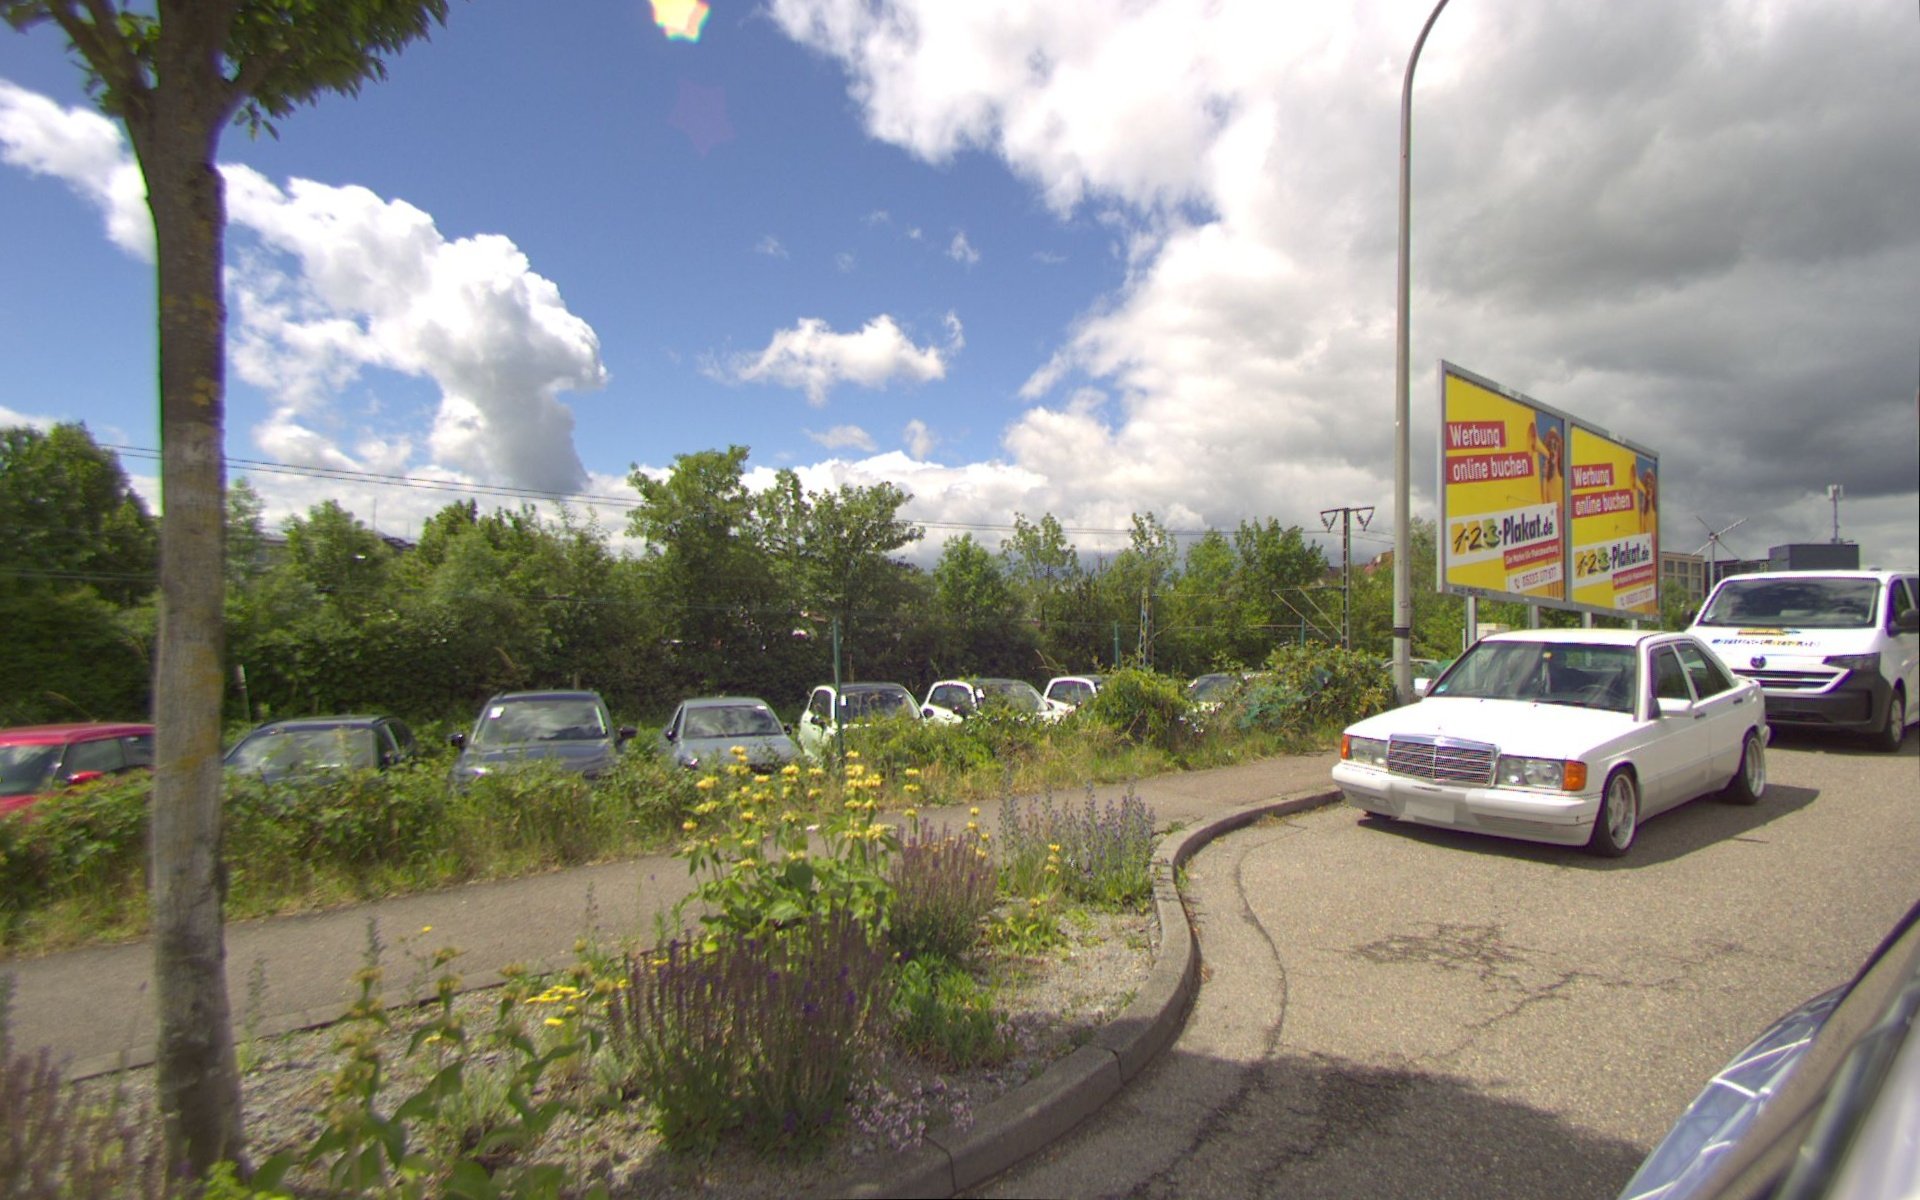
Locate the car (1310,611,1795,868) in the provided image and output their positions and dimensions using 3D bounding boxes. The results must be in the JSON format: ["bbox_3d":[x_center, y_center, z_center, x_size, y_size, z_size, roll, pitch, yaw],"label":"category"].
[{"bbox_3d":[4.507,0.785,7.460,4.127,1.405,1.641,1,-1,-37],"label":"car"}]

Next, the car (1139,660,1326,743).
[{"bbox_3d":[5.329,1.900,19.645,3.641,1.276,1.576,0,-1,-36],"label":"car"}]

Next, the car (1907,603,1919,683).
[{"bbox_3d":[19.718,0.803,19.448,3.434,1.500,1.597,0,-1,-36],"label":"car"}]

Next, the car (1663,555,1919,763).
[{"bbox_3d":[10.772,0.604,12.351,5.443,2.030,1.980,0,-1,-37],"label":"car"}]

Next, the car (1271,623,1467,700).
[{"bbox_3d":[9.003,1.261,22.181,4.468,1.460,1.822,0,-1,-34],"label":"car"}]

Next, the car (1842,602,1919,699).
[{"bbox_3d":[16.124,0.784,16.709,3.905,1.469,1.597,1,-1,-37],"label":"car"}]

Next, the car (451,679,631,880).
[{"bbox_3d":[-4.927,1.934,12.135,1.681,1.656,4.008,0,0,-21],"label":"car"}]

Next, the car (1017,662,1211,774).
[{"bbox_3d":[2.602,1.988,18.081,1.611,1.509,4.007,0,0,-22],"label":"car"}]

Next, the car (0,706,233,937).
[{"bbox_3d":[-9.038,1.997,9.782,1.775,1.505,4.007,0,0,-11],"label":"car"}]

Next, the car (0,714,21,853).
[{"bbox_3d":[-10.876,1.995,9.111,1.708,1.469,4.007,0,0,-11],"label":"car"}]

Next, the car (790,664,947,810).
[{"bbox_3d":[-1.528,1.939,15.467,1.606,1.661,4.008,0,0,-17],"label":"car"}]

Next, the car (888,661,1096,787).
[{"bbox_3d":[0.401,1.953,17.094,1.756,1.618,4.005,0,0,-28],"label":"car"}]

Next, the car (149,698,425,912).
[{"bbox_3d":[-7.029,2.005,11.013,1.641,1.464,4.008,0,0,-21],"label":"car"}]

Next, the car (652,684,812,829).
[{"bbox_3d":[-3.352,2.058,14.327,1.630,1.399,4.007,0,0,-21],"label":"car"}]
